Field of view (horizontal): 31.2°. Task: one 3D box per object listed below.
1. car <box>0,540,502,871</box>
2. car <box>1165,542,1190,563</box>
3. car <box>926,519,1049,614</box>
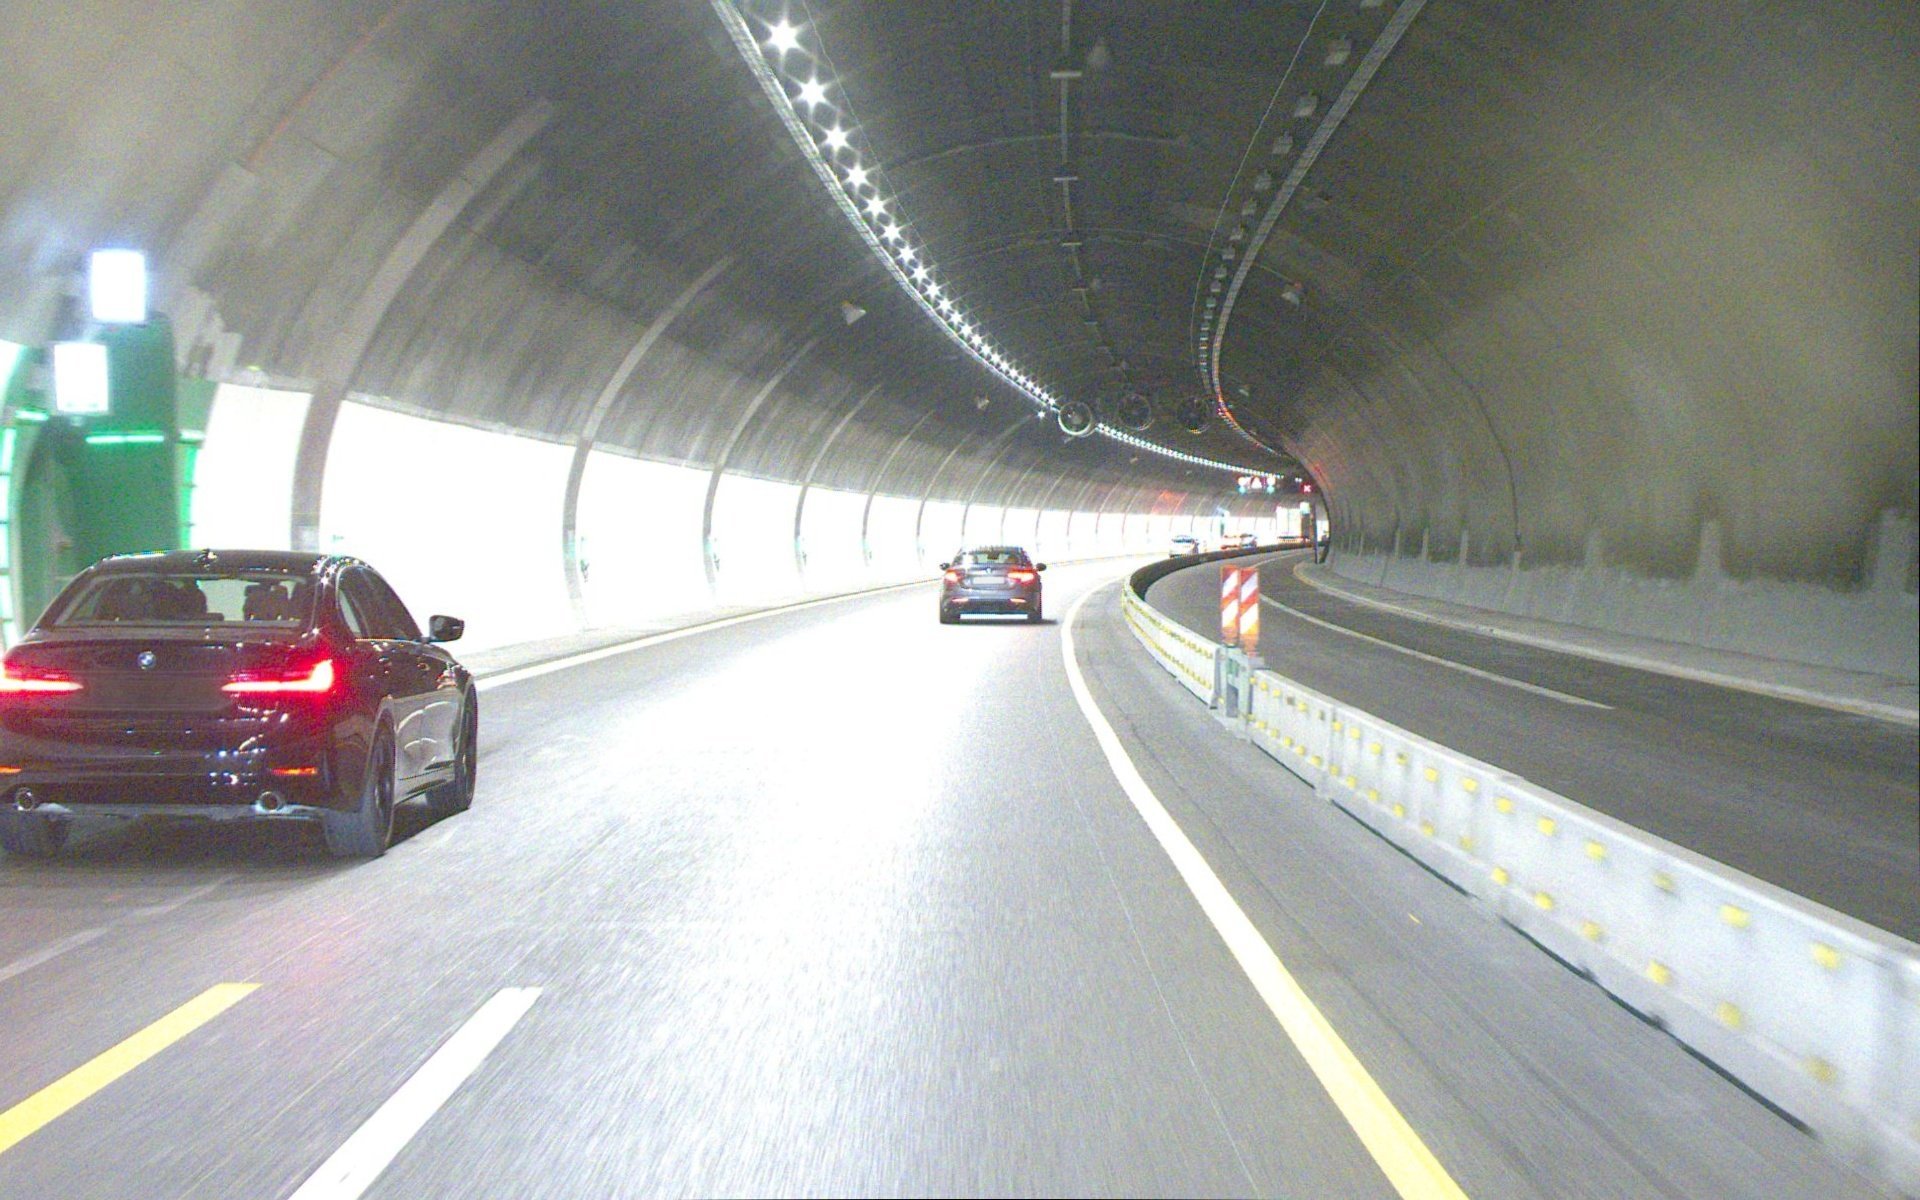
[{"bbox_3d":[-3.581,0.427,17.689,1.778,1.433,4.883,1,1,0],"label":"car"},{"bbox_3d":[14.231,-3.107,224.973,1.595,1.328,3.750,1,1,4],"label":"car"},{"bbox_3d":[0.547,-0.640,63.803,2.141,1.700,4.000,0,1,2],"label":"car"}]
